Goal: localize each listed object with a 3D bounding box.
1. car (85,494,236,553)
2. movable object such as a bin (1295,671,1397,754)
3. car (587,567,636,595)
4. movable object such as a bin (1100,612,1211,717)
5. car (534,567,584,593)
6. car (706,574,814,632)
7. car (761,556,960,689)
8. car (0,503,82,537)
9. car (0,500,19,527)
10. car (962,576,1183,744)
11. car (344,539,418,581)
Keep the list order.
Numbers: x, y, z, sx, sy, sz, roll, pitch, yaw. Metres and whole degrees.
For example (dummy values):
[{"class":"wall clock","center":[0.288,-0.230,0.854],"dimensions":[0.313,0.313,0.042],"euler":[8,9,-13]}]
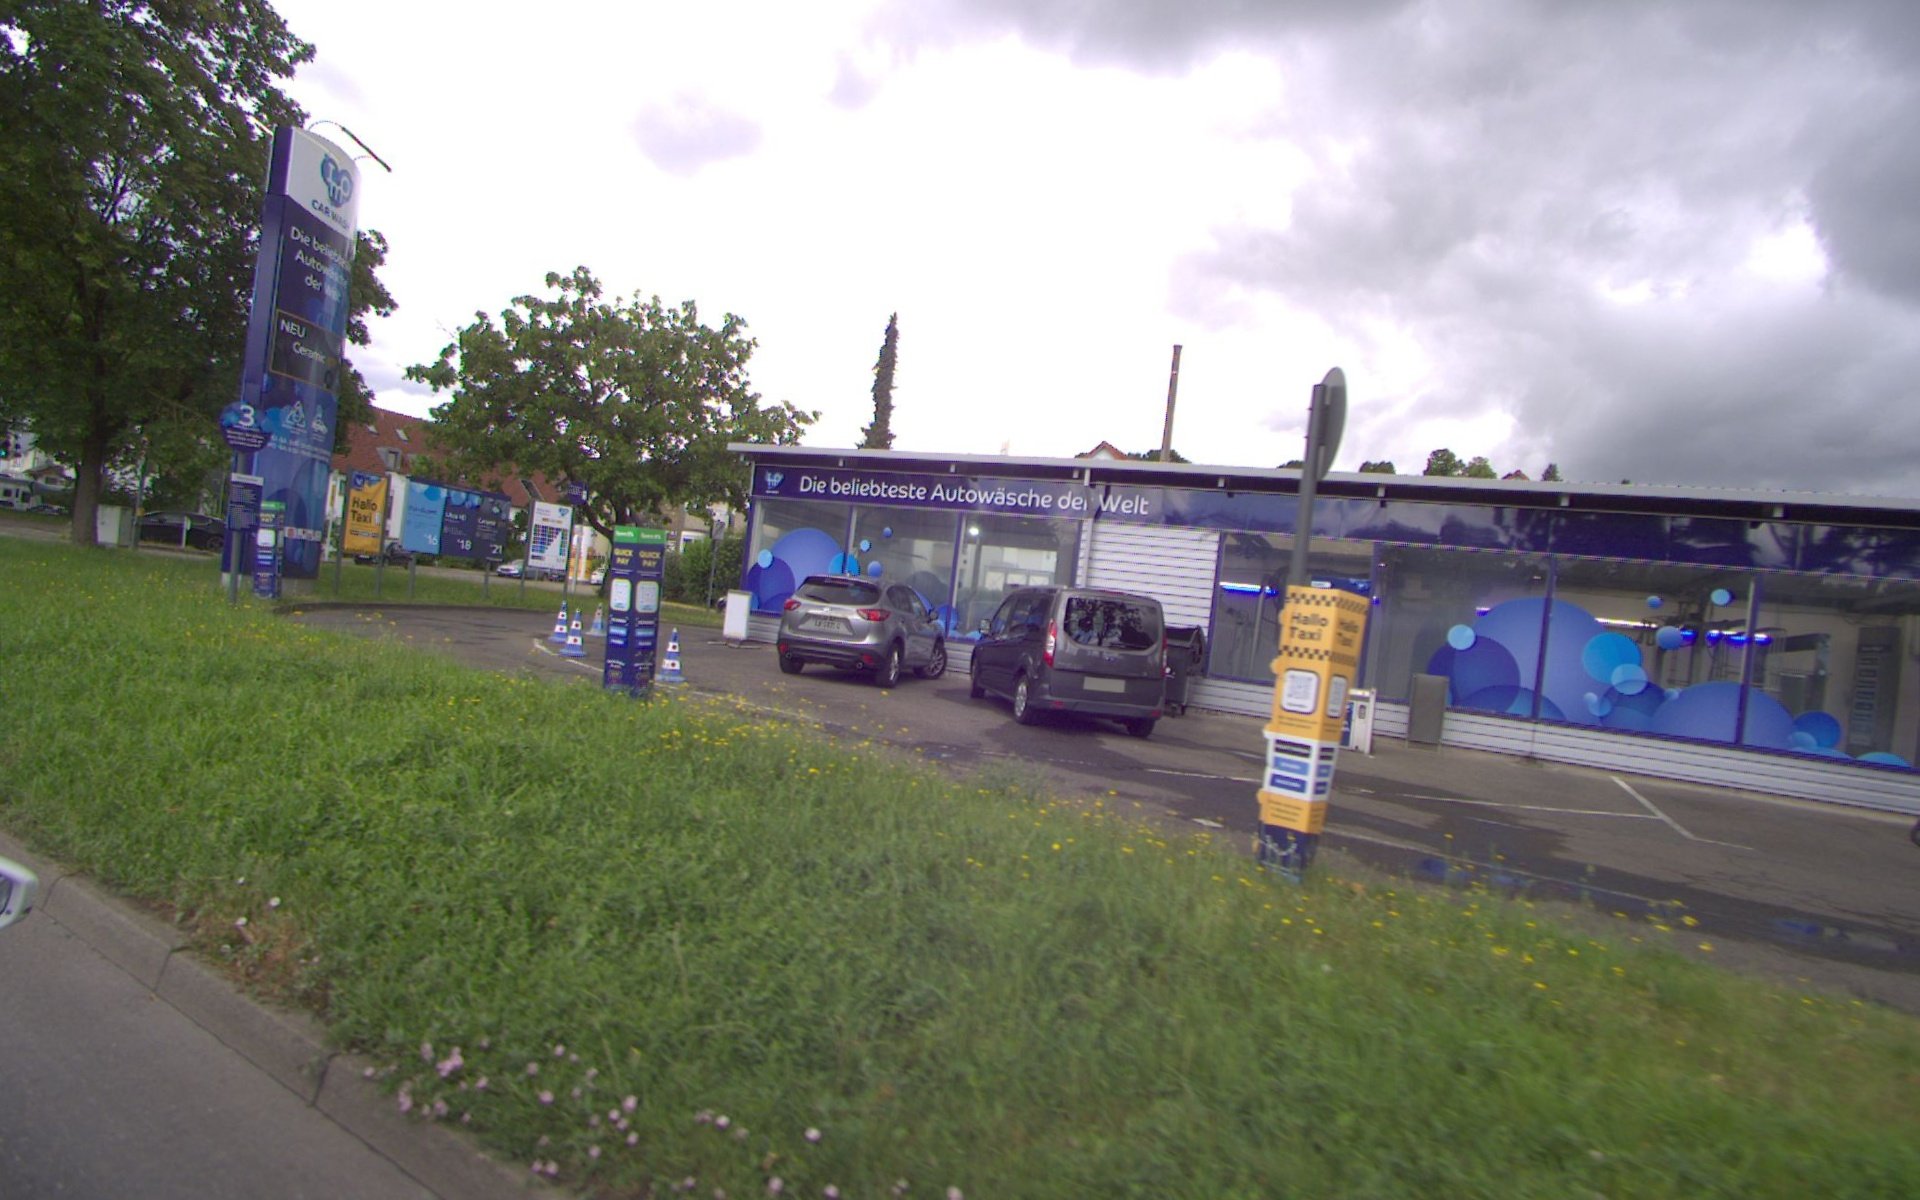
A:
[{"class":"car","center":[-30.633,-2.896,38.636],"dimensions":[1.678,1.544,4.153],"euler":[6,-2,37]},{"class":"movable object such as a bin","center":[5.652,1.618,14.692],"dimensions":[1.168,0.988,1.161],"euler":[7,0,28]},{"class":"car","center":[-25.086,-1.330,72.531],"dimensions":[1.963,1.535,4.001],"euler":[8,-1,0]},{"class":"movable object such as a bin","center":[3.223,1.053,16.528],"dimensions":[1.363,1.492,1.161],"euler":[7,0,28]},{"class":"car","center":[-31.827,-1.555,79.953],"dimensions":[1.963,1.441,4.474],"euler":[8,-3,1]},{"class":"car","center":[-8.767,0.122,44.059],"dimensions":[4.331,1.862,1.723],"euler":[7,-3,28]},{"class":"car","center":[-1.478,0.402,16.766],"dimensions":[1.805,1.718,4.215],"euler":[8,0,14]},{"class":"car","center":[-50.962,-4.439,55.789],"dimensions":[3.785,1.260,1.629],"euler":[7,-3,18]},{"class":"car","center":[-56.916,-5.276,58.459],"dimensions":[3.768,1.401,1.485],"euler":[7,-3,19]},{"class":"car","center":[1.384,0.717,14.304],"dimensions":[1.722,1.843,4.375],"euler":[7,-1,-11]},{"class":"car","center":[-33.230,-2.261,57.872],"dimensions":[1.965,1.784,4.002],"euler":[9,-3,-4]}]
